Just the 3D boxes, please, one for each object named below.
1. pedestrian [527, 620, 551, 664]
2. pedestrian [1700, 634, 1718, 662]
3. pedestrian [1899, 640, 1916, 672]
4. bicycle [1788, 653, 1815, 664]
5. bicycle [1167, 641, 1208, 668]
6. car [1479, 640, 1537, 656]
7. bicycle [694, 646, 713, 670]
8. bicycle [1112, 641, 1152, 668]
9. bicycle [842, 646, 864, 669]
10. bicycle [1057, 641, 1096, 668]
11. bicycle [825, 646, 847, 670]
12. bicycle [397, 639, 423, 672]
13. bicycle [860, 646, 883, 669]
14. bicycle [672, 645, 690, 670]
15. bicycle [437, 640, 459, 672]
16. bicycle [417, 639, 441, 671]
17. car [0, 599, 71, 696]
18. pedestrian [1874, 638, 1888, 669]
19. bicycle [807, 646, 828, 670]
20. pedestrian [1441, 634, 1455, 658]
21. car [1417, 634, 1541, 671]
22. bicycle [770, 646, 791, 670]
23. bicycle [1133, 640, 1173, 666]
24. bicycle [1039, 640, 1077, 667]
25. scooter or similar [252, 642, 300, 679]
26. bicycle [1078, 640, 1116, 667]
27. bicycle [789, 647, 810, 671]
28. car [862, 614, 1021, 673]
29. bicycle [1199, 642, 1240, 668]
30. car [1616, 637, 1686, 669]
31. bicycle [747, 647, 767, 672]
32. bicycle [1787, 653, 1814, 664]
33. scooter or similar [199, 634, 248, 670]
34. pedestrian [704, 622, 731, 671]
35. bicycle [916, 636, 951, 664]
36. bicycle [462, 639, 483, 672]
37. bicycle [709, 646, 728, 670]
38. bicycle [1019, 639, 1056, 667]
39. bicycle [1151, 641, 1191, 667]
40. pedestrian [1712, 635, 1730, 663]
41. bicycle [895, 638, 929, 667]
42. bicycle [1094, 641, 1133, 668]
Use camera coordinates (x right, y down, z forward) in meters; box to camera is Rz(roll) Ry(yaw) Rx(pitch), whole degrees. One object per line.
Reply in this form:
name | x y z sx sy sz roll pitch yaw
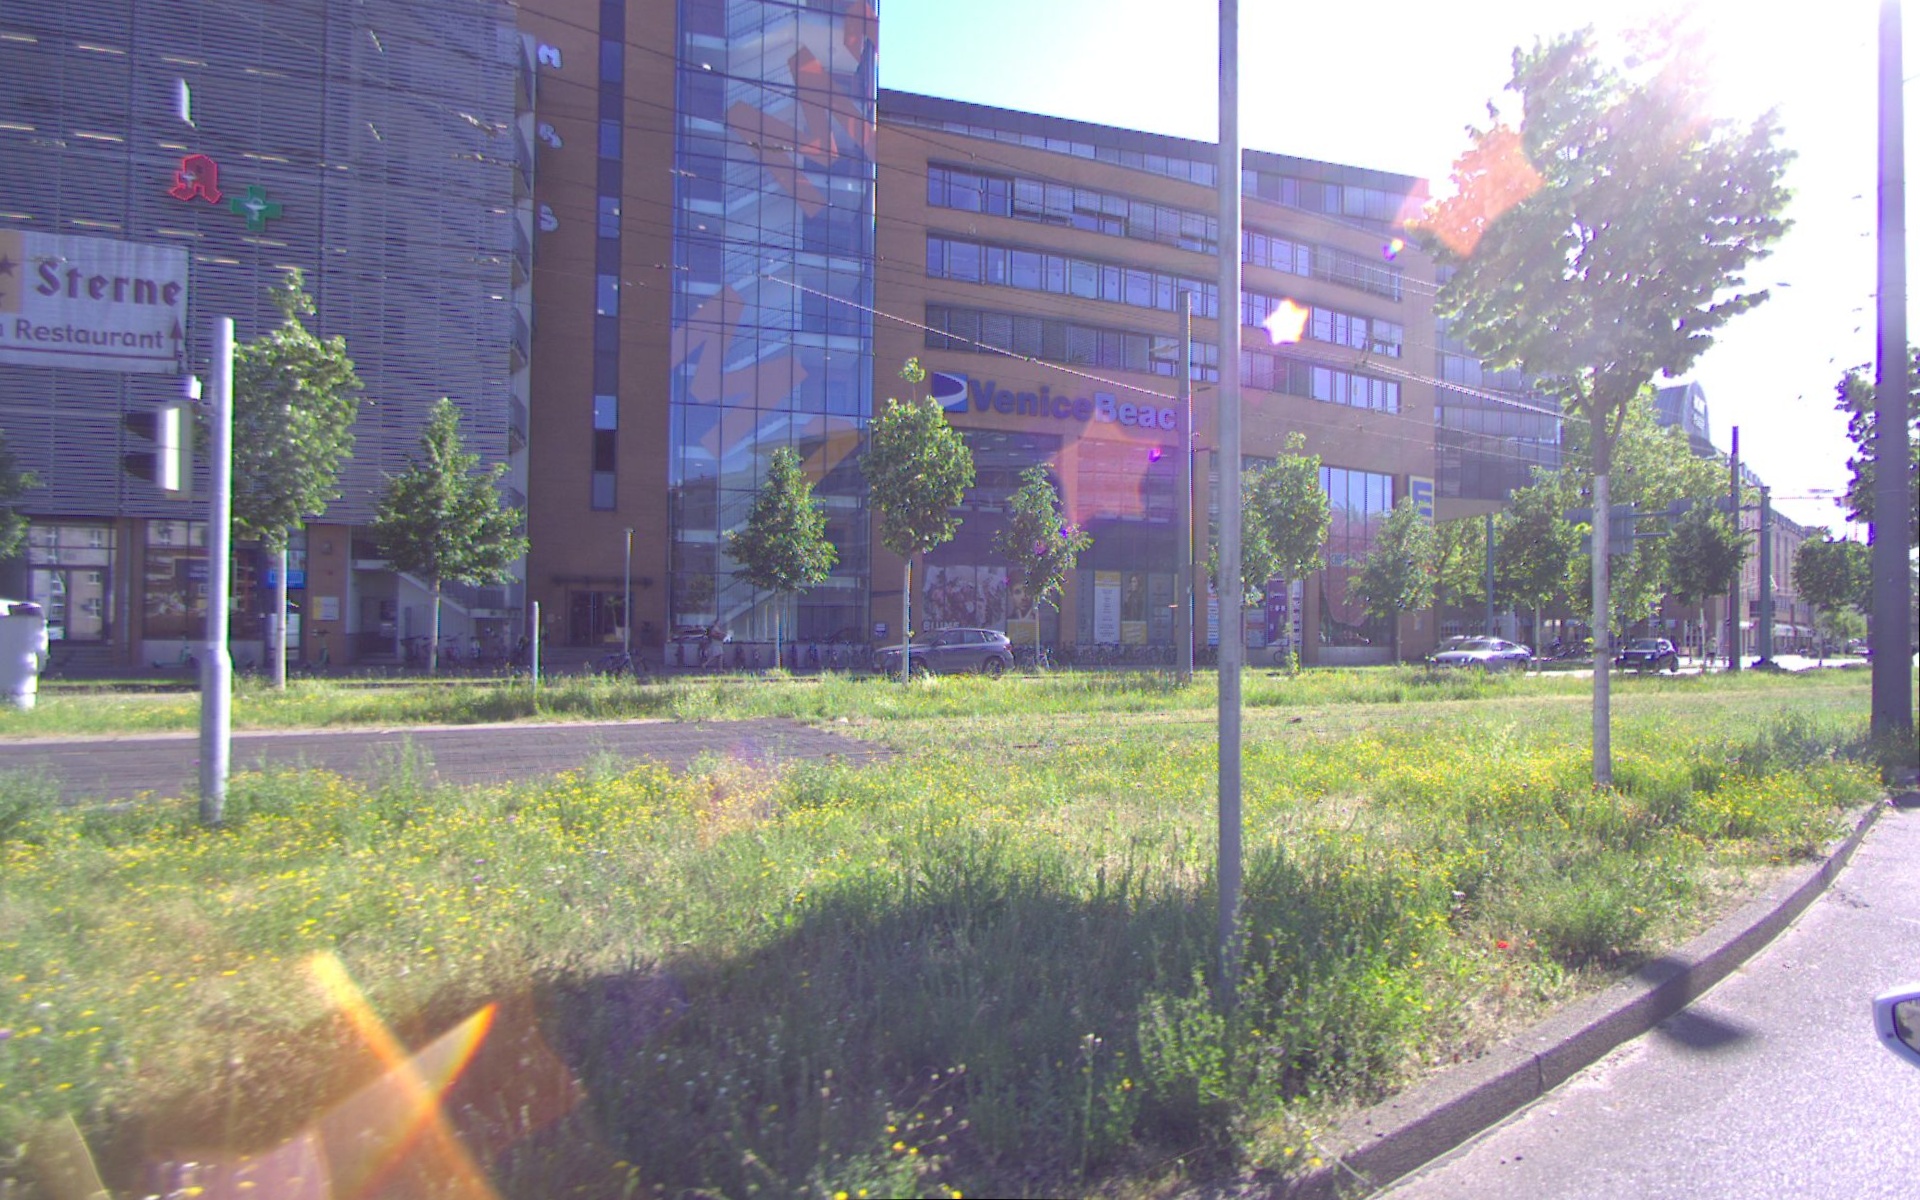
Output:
pedestrian | -15.106 1.512 36.085 0.650 1.574 0.636 1 -1 -11
pedestrian | 50.280 3.200 67.416 0.616 1.855 0.758 1 -1 -27
pedestrian | 56.509 3.323 59.898 0.571 1.855 0.498 0 -1 20
bicycle | 104.827 7.275 125.193 0.726 1.327 2.469 2 -2 -34
bicycle | 10.747 2.560 47.484 0.742 1.138 2.168 1 -1 -23
car | 47.336 4.117 86.872 1.979 1.247 3.964 2 -2 -33
bicycle | -9.428 2.122 36.909 0.439 0.830 1.443 1 -1 -23
bicycle | 7.854 2.461 45.907 0.742 1.138 2.168 1 -1 -23
bicycle | -4.145 2.218 38.711 0.439 0.830 1.443 1 -1 -23
bicycle | 5.247 2.447 45.342 0.742 1.138 2.168 1 -1 -23
bicycle | -4.739 2.207 38.385 0.439 0.830 1.443 1 -1 -23
bicycle | -17.924 1.784 32.757 0.486 0.967 2.168 1 -1 -22
bicycle | -3.465 2.239 39.221 0.439 0.830 1.443 1 -1 -23
bicycle | -10.134 2.077 36.438 0.439 0.830 1.443 1 -1 -23
bicycle | -16.943 1.839 33.265 0.486 0.967 2.168 1 -1 -22
bicycle | -17.433 1.788 33.016 0.486 0.967 2.168 1 -1 -22
car | -22.436 0.962 21.088 5.188 2.040 2.213 2 -2 -27
pedestrian | 54.985 3.180 59.960 0.452 1.855 0.459 0 -1 20
bicycle | -5.430 2.186 38.212 0.439 0.830 1.443 1 -1 -23
pedestrian | 33.820 3.213 69.655 0.780 1.645 0.503 3 -2 -33
car | 20.367 2.045 39.389 4.729 1.352 1.986 2 -2 -28
bicycle | -6.713 2.160 37.526 0.439 0.830 1.443 1 -1 -23
bicycle | 8.944 2.457 46.723 0.742 1.138 2.168 1 -1 -23
bicycle | 4.361 2.393 45.045 0.742 1.138 2.168 1 -1 -23
scooter or similar | -21.802 1.923 32.008 1.186 1.117 0.276 3 -2 -16
bicycle | 6.199 2.418 45.550 0.742 1.138 2.168 1 -1 -23
bicycle | -6.046 2.200 37.877 0.439 0.830 1.443 1 -1 -23
car | -0.562 1.338 30.807 4.480 1.703 1.986 2 -2 -27
bicycle | 12.426 2.606 48.115 0.742 1.138 2.168 1 -1 -23
car | 31.843 2.435 46.303 3.257 1.377 1.421 2 -2 -30
bicycle | -7.542 2.206 37.272 0.439 0.830 1.443 1 -1 -23
bicycle | 103.947 7.233 124.297 0.726 1.327 2.469 2 -2 -34
scooter or similar | -23.263 1.640 31.727 1.186 1.117 0.276 3 -2 -16
pedestrian | -8.507 1.623 35.243 0.769 1.707 0.592 2 -1 -31
bicycle | -1.150 2.142 43.213 0.742 1.138 2.168 1 -1 -23
bicycle | -16.164 1.821 33.337 0.486 0.967 2.168 1 -1 -22
bicycle | -8.933 2.140 37.125 0.439 0.830 1.443 1 -1 -23
bicycle | 3.427 2.345 44.704 0.742 1.138 2.168 1 -1 -23
bicycle | 9.893 2.518 47.121 0.742 1.138 2.168 1 -1 -23
pedestrian | 51.268 3.289 67.653 0.616 1.855 0.759 1 -1 -23
bicycle | -2.074 2.202 42.712 0.742 1.138 2.168 1 -1 -23
bicycle | 6.987 2.456 45.785 0.742 1.138 2.168 1 -1 -23
